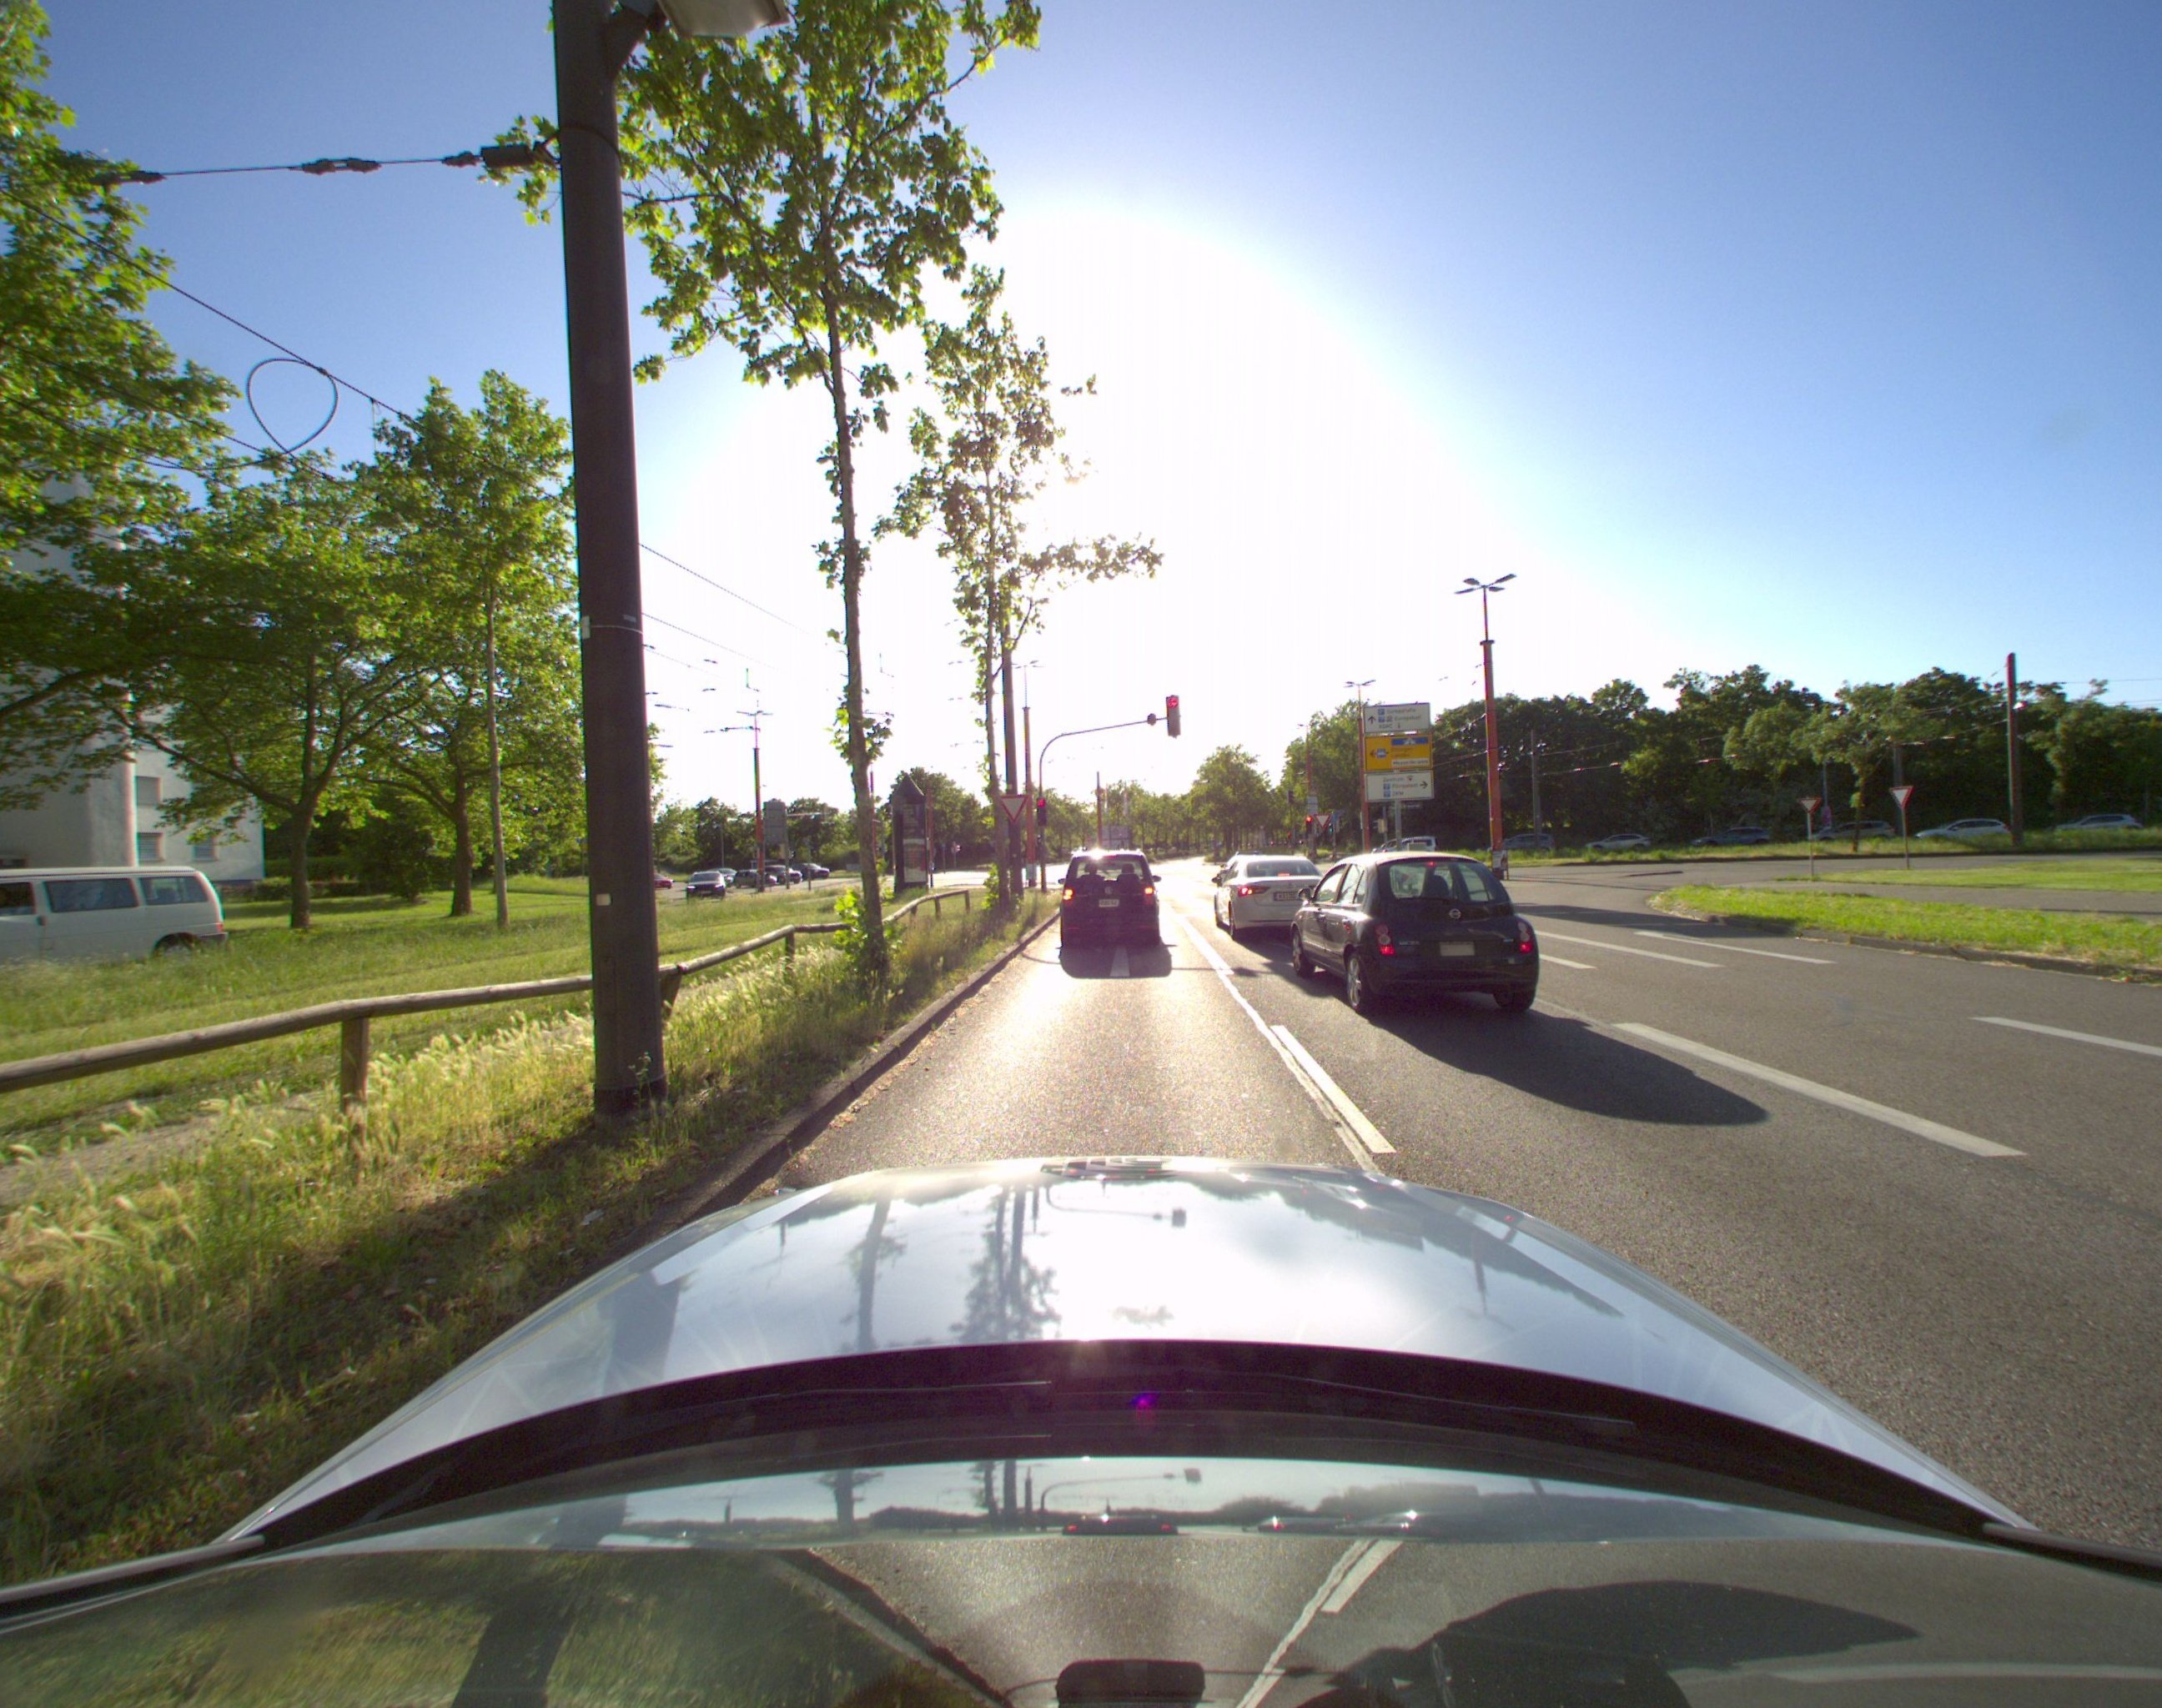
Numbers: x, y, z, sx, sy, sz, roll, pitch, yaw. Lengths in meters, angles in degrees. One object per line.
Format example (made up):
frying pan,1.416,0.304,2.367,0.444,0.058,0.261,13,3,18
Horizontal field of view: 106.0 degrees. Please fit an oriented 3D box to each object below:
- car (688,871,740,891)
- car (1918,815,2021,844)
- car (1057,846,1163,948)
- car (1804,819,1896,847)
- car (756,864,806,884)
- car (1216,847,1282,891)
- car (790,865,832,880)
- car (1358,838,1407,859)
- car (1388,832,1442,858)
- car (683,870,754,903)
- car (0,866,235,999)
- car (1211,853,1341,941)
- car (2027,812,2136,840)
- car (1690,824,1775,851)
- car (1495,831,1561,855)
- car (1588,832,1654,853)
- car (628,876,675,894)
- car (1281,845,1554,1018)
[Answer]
car,-31.754,2.354,70.412,4.135,1.612,1.880,-2,0,27
car,52.804,-1.416,48.489,3.782,1.523,1.706,-2,0,31
car,0.534,0.712,15.363,1.694,1.621,3.898,-2,0,2
car,50.834,-1.389,53.912,4.080,1.644,1.864,-2,0,31
car,-26.132,1.759,70.915,3.948,1.644,2.013,-2,0,33
car,6.995,0.602,34.294,1.792,1.656,4.112,-2,0,-1
car,-25.992,1.744,78.476,3.948,1.330,1.709,-2,0,33
car,25.005,-0.422,67.573,3.607,1.655,1.690,-1,-1,27
car,26.058,-0.678,63.515,3.797,1.890,1.774,-1,-1,26
car,-18.992,1.691,42.852,1.758,1.512,4.104,-2,0,2
car,-17.491,1.268,13.525,1.783,1.992,4.657,-2,0,4
car,3.560,0.717,15.573,1.713,1.438,4.202,-1,0,4
car,59.138,-1.655,48.230,3.699,1.473,1.611,-2,0,31
car,43.055,-1.056,53.912,4.080,1.598,1.840,-2,0,27
car,32.692,-0.807,59.588,4.139,1.644,1.770,-1,-1,29
car,39.300,-0.821,59.374,3.926,1.441,1.697,-1,-1,29
car,-38.951,2.792,73.858,3.949,1.513,1.743,-2,0,28
car,3.410,0.687,8.986,1.647,1.500,3.617,-1,0,3
